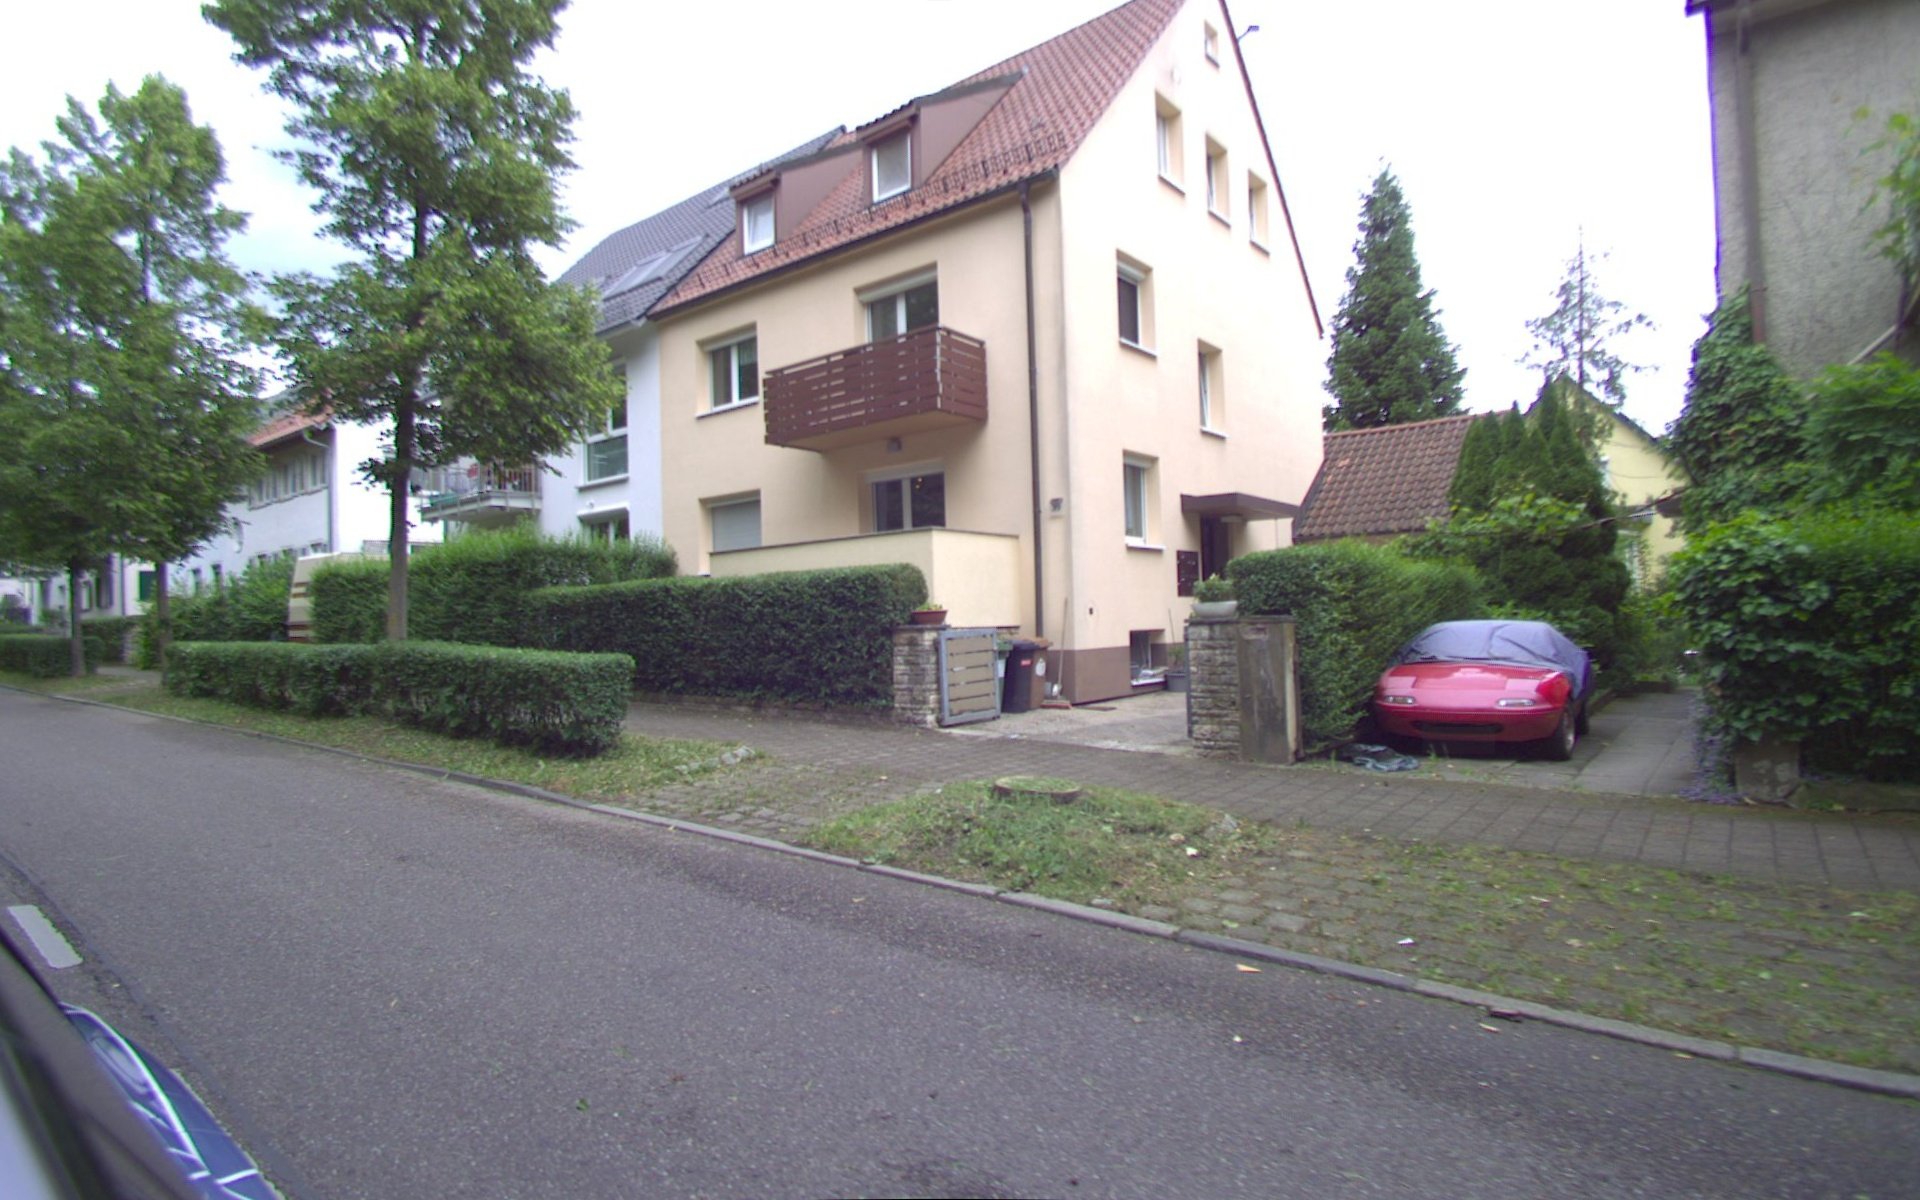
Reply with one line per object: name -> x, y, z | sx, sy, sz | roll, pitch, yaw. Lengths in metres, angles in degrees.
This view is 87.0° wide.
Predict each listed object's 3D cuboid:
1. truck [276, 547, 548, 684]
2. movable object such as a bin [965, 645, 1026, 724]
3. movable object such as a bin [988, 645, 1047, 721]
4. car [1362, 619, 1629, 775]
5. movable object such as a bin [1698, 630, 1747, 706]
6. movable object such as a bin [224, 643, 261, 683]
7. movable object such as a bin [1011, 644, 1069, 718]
truck -> -14.126, 0.381, 26.445 | 2.514, 3.155, 5.742 | -2, -1, 37
movable object such as a bin -> 0.427, 1.004, 12.193 | 0.569, 0.918, 0.483 | -2, -3, 37
movable object such as a bin -> 0.715, 1.021, 12.618 | 0.569, 0.918, 0.483 | -2, -3, 37
car -> 5.558, 0.823, 10.247 | 1.696, 1.208, 3.948 | -1, -1, 38
movable object such as a bin -> 10.252, 0.912, 13.609 | 0.469, 0.994, 0.474 | -3, -3, 38
movable object such as a bin -> -17.458, 1.525, 24.640 | 0.693, 0.933, 0.574 | -2, -3, 41
movable object such as a bin -> 1.033, 1.028, 13.043 | 0.569, 0.918, 0.483 | -2, -3, 37
